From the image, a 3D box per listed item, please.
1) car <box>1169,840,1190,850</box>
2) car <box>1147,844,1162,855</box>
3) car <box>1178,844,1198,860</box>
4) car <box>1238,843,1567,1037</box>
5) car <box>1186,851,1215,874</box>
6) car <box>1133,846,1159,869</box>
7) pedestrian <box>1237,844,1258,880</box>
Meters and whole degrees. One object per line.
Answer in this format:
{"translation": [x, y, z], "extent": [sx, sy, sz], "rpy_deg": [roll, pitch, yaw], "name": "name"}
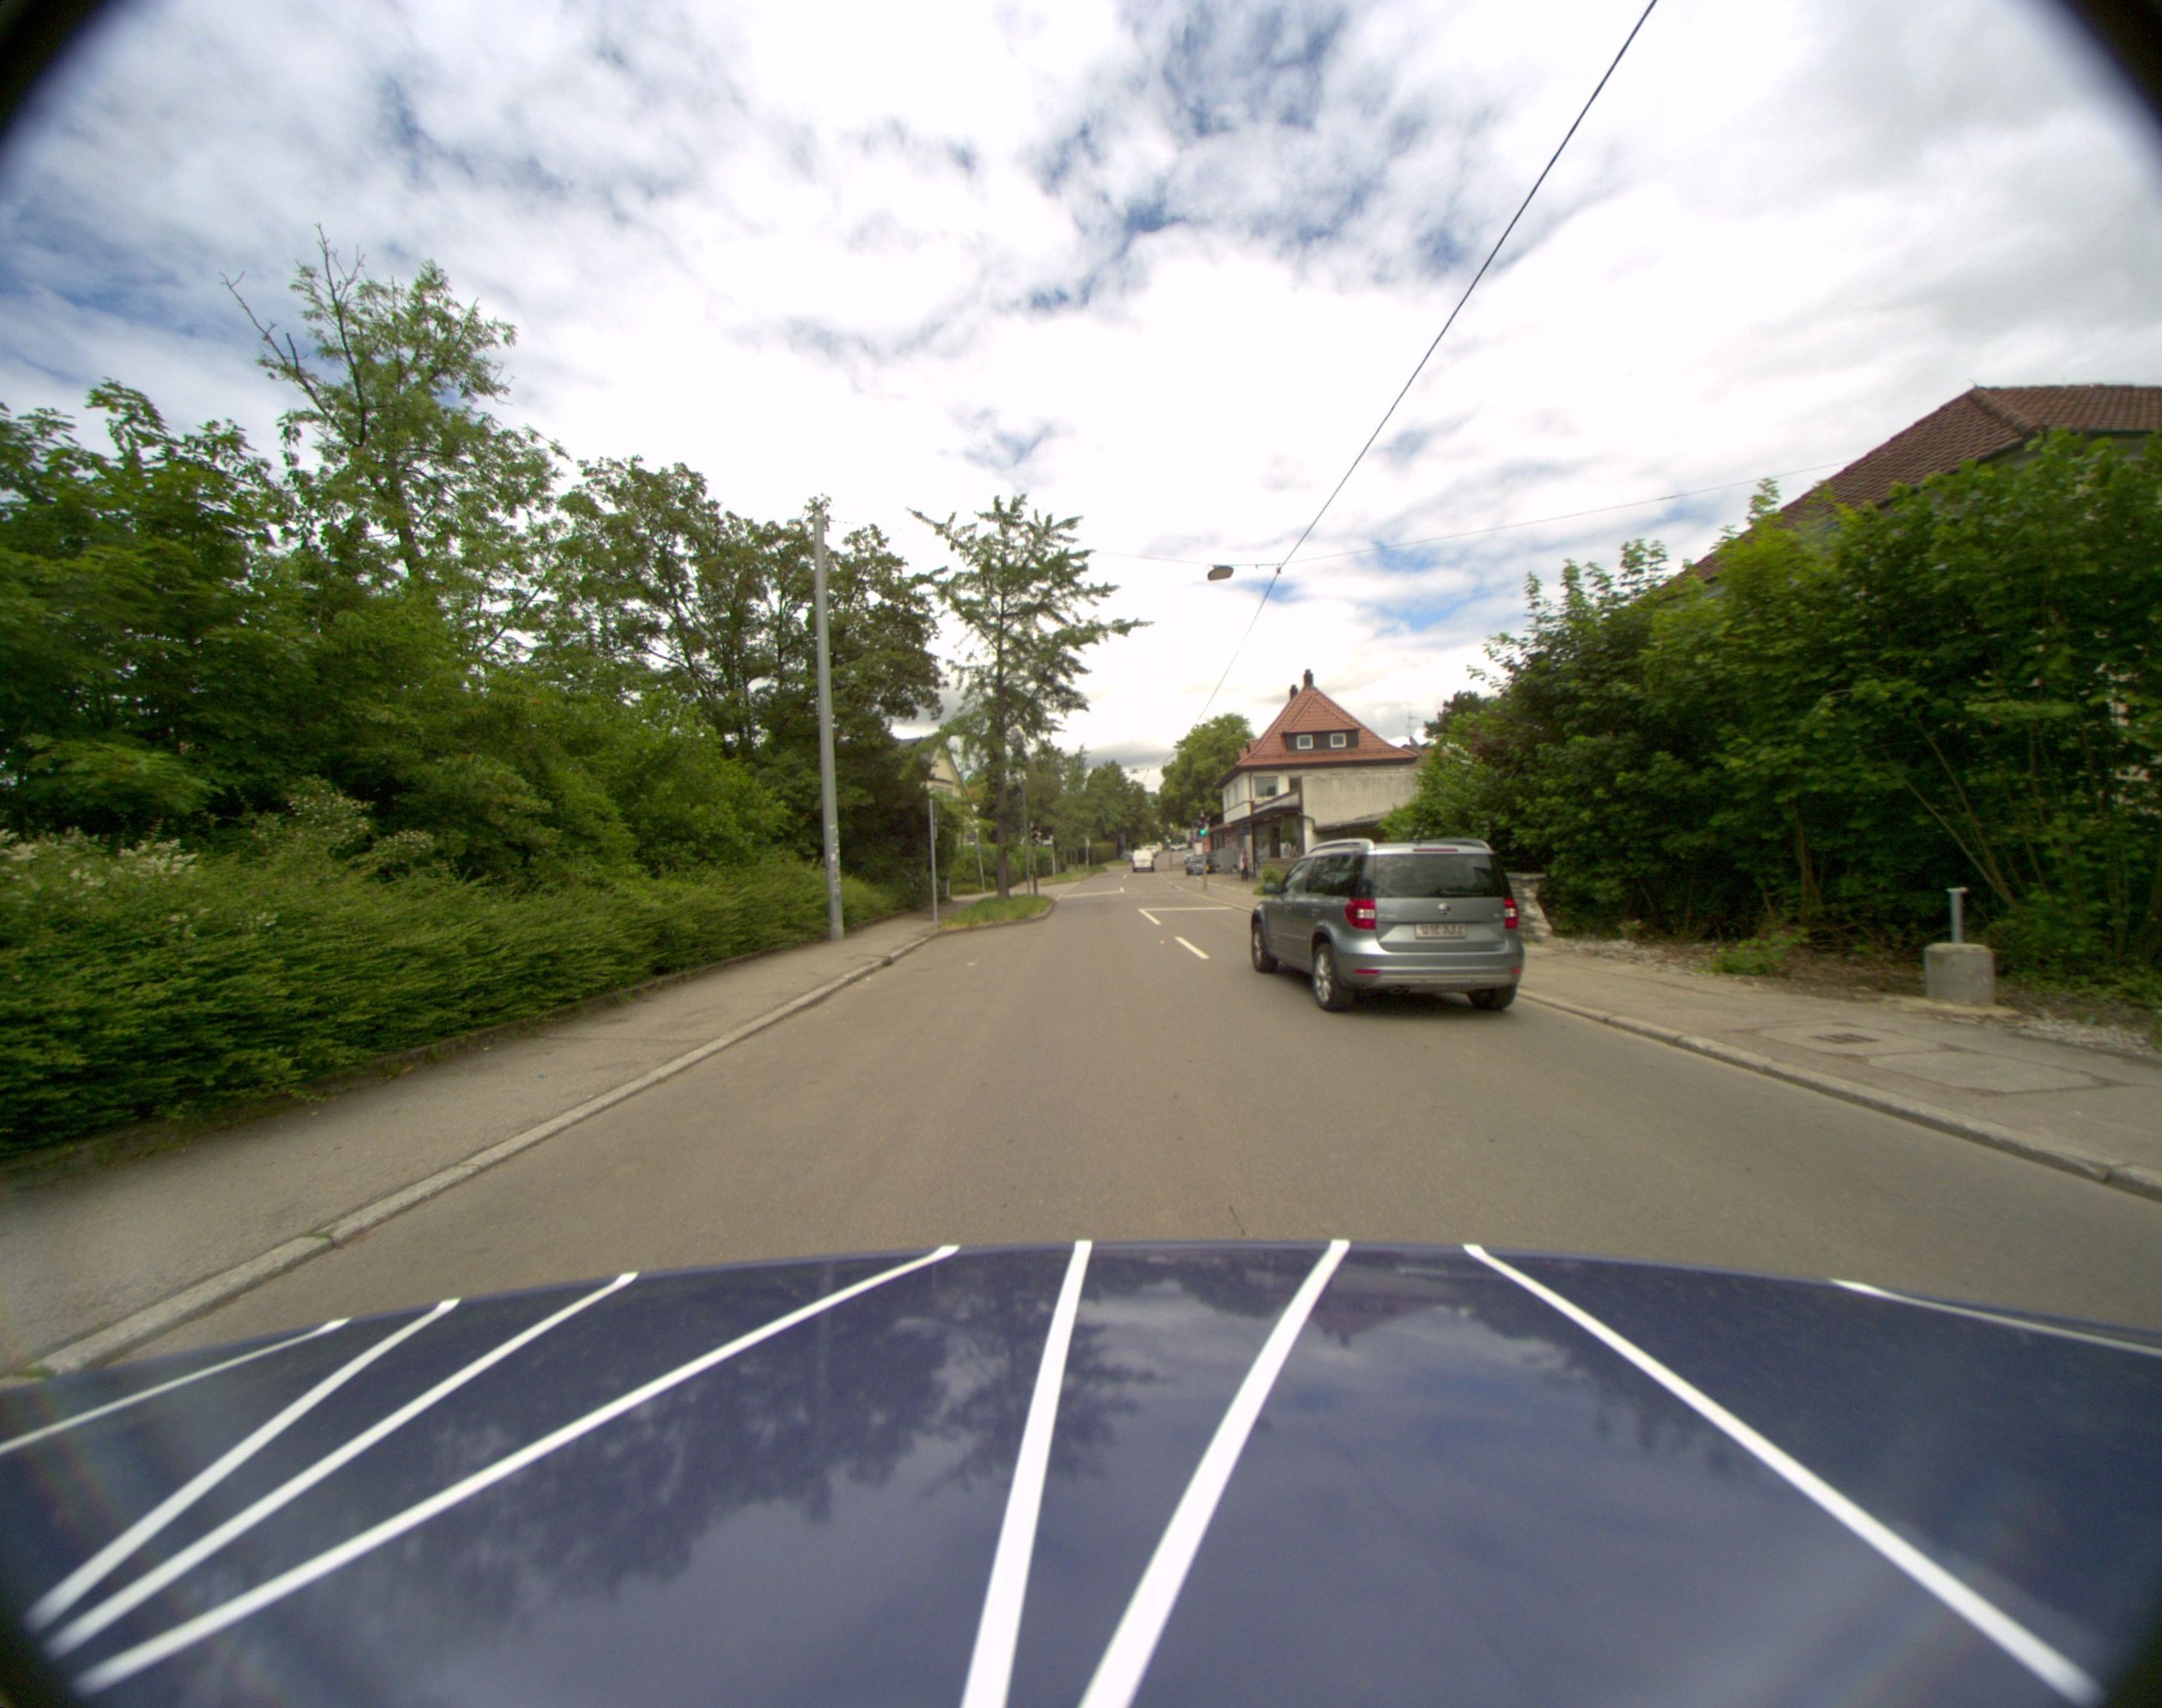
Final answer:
{"translation": [20.057, -1.772, 154.620], "extent": [3.993, 1.729, 2.001], "rpy_deg": [-4, 1, 14], "name": "car"}
{"translation": [12.408, -0.820, 128.711], "extent": [1.998, 1.687, 3.999], "rpy_deg": [-5, 1, 1], "name": "car"}
{"translation": [12.425, -0.211, 88.576], "extent": [1.771, 1.668, 3.999], "rpy_deg": [-5, 1, 1], "name": "car"}
{"translation": [3.163, 0.716, 8.532], "extent": [1.845, 1.646, 4.137], "rpy_deg": [0, 1, -1], "name": "car"}
{"translation": [8.658, 0.593, 54.848], "extent": [1.822, 1.344, 3.394], "rpy_deg": [-4, 1, 12], "name": "car"}
{"translation": [5.813, 0.306, 68.373], "extent": [1.885, 1.905, 4.832], "rpy_deg": [-3, 1, 1], "name": "car"}
{"translation": [8.545, 0.398, 38.931], "extent": [0.821, 1.734, 0.604], "rpy_deg": [-5, 1, 2], "name": "pedestrian"}
